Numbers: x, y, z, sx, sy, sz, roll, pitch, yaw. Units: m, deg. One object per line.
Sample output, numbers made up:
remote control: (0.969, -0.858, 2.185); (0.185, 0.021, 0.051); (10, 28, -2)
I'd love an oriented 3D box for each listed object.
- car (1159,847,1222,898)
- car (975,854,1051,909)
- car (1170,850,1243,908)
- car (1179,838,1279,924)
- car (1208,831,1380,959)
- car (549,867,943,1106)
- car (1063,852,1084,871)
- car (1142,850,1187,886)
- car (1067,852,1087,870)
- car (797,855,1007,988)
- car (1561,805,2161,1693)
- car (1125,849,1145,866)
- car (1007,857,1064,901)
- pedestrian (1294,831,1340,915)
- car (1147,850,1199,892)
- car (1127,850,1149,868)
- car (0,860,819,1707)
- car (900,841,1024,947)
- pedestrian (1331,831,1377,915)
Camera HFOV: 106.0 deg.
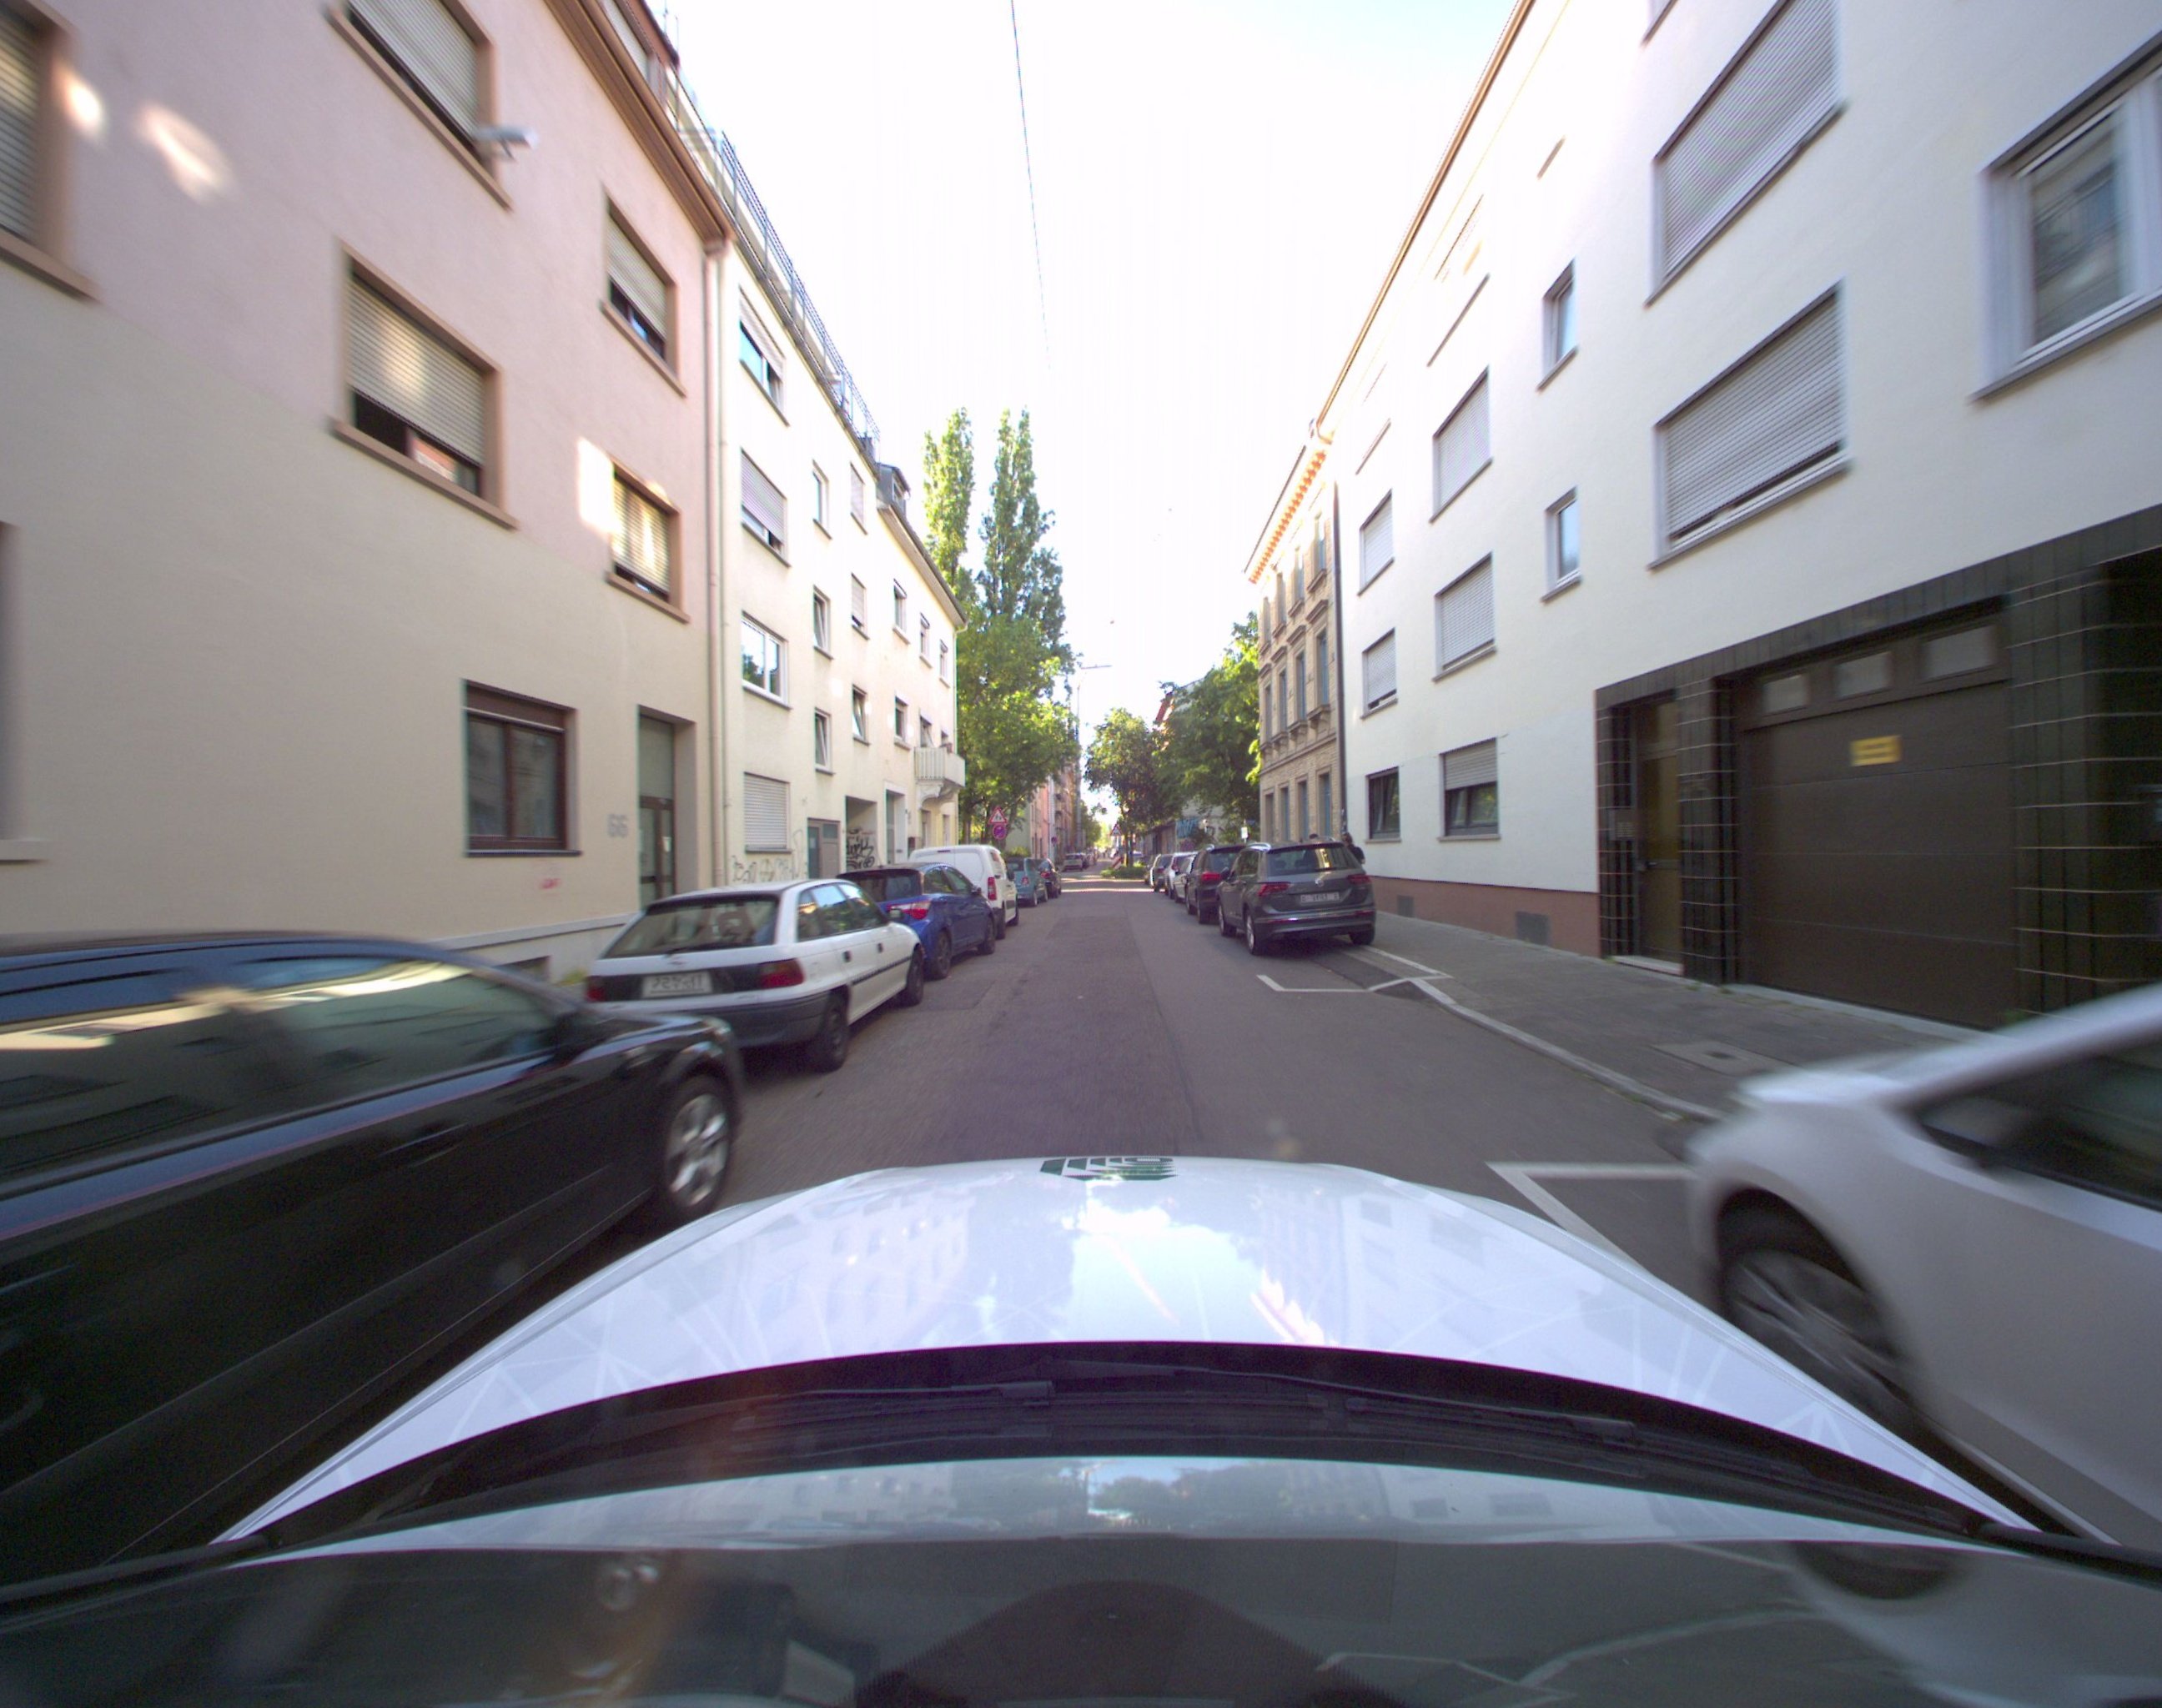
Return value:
car: (3.674, 0.586, 27.850); (1.670, 1.561, 3.797); (-3, 0, 1)
car: (-2.011, 0.798, 25.199); (1.662, 1.469, 3.825); (-3, 0, 5)
car: (3.569, 0.657, 23.638); (1.561, 1.483, 3.620); (-3, 0, 1)
car: (3.260, 0.574, 18.679); (1.669, 1.681, 4.097); (-3, -1, 3)
car: (3.276, 0.571, 13.385); (1.670, 1.627, 4.251); (-5, 0, 1)
car: (-2.531, 0.893, 7.375); (1.667, 1.388, 4.183); (-3, 0, 1)
car: (-0.626, 0.646, 70.305); (1.670, 1.487, 4.095); (-3, 0, 1)
car: (3.815, 0.612, 37.759); (1.670, 1.487, 4.095); (-3, 0, 1)
car: (-0.370, 0.652, 75.822); (1.670, 1.487, 4.095); (-3, 0, 1)
car: (-2.349, 0.827, 11.789); (1.664, 1.486, 3.999); (-3, 0, 7)
car: (2.643, 0.645, 1.102); (1.670, 1.506, 3.938); (-3, 0, 1)
car: (5.171, 0.303, 78.173); (1.670, 1.487, 3.638); (-3, 0, 1)
car: (-1.574, 0.831, 29.285); (1.664, 1.361, 4.050); (-3, 0, 1)
pedestrian: (4.816, 0.380, 16.651); (0.683, 1.660, 0.718); (-2, 0, 1)
car: (3.629, 0.633, 32.758); (1.670, 1.487, 4.095); (-3, 0, 1)
car: (4.964, 0.442, 71.641); (1.670, 1.487, 3.638); (-3, 0, 1)
car: (-2.528, 0.848, 2.501); (1.736, 1.506, 4.350); (-3, 0, 3)
car: (-2.242, 0.703, 16.407); (1.759, 1.785, 4.040); (-3, 0, 1)
pedestrian: (5.571, 0.387, 16.651); (0.683, 1.660, 0.718); (-2, 0, 1)
